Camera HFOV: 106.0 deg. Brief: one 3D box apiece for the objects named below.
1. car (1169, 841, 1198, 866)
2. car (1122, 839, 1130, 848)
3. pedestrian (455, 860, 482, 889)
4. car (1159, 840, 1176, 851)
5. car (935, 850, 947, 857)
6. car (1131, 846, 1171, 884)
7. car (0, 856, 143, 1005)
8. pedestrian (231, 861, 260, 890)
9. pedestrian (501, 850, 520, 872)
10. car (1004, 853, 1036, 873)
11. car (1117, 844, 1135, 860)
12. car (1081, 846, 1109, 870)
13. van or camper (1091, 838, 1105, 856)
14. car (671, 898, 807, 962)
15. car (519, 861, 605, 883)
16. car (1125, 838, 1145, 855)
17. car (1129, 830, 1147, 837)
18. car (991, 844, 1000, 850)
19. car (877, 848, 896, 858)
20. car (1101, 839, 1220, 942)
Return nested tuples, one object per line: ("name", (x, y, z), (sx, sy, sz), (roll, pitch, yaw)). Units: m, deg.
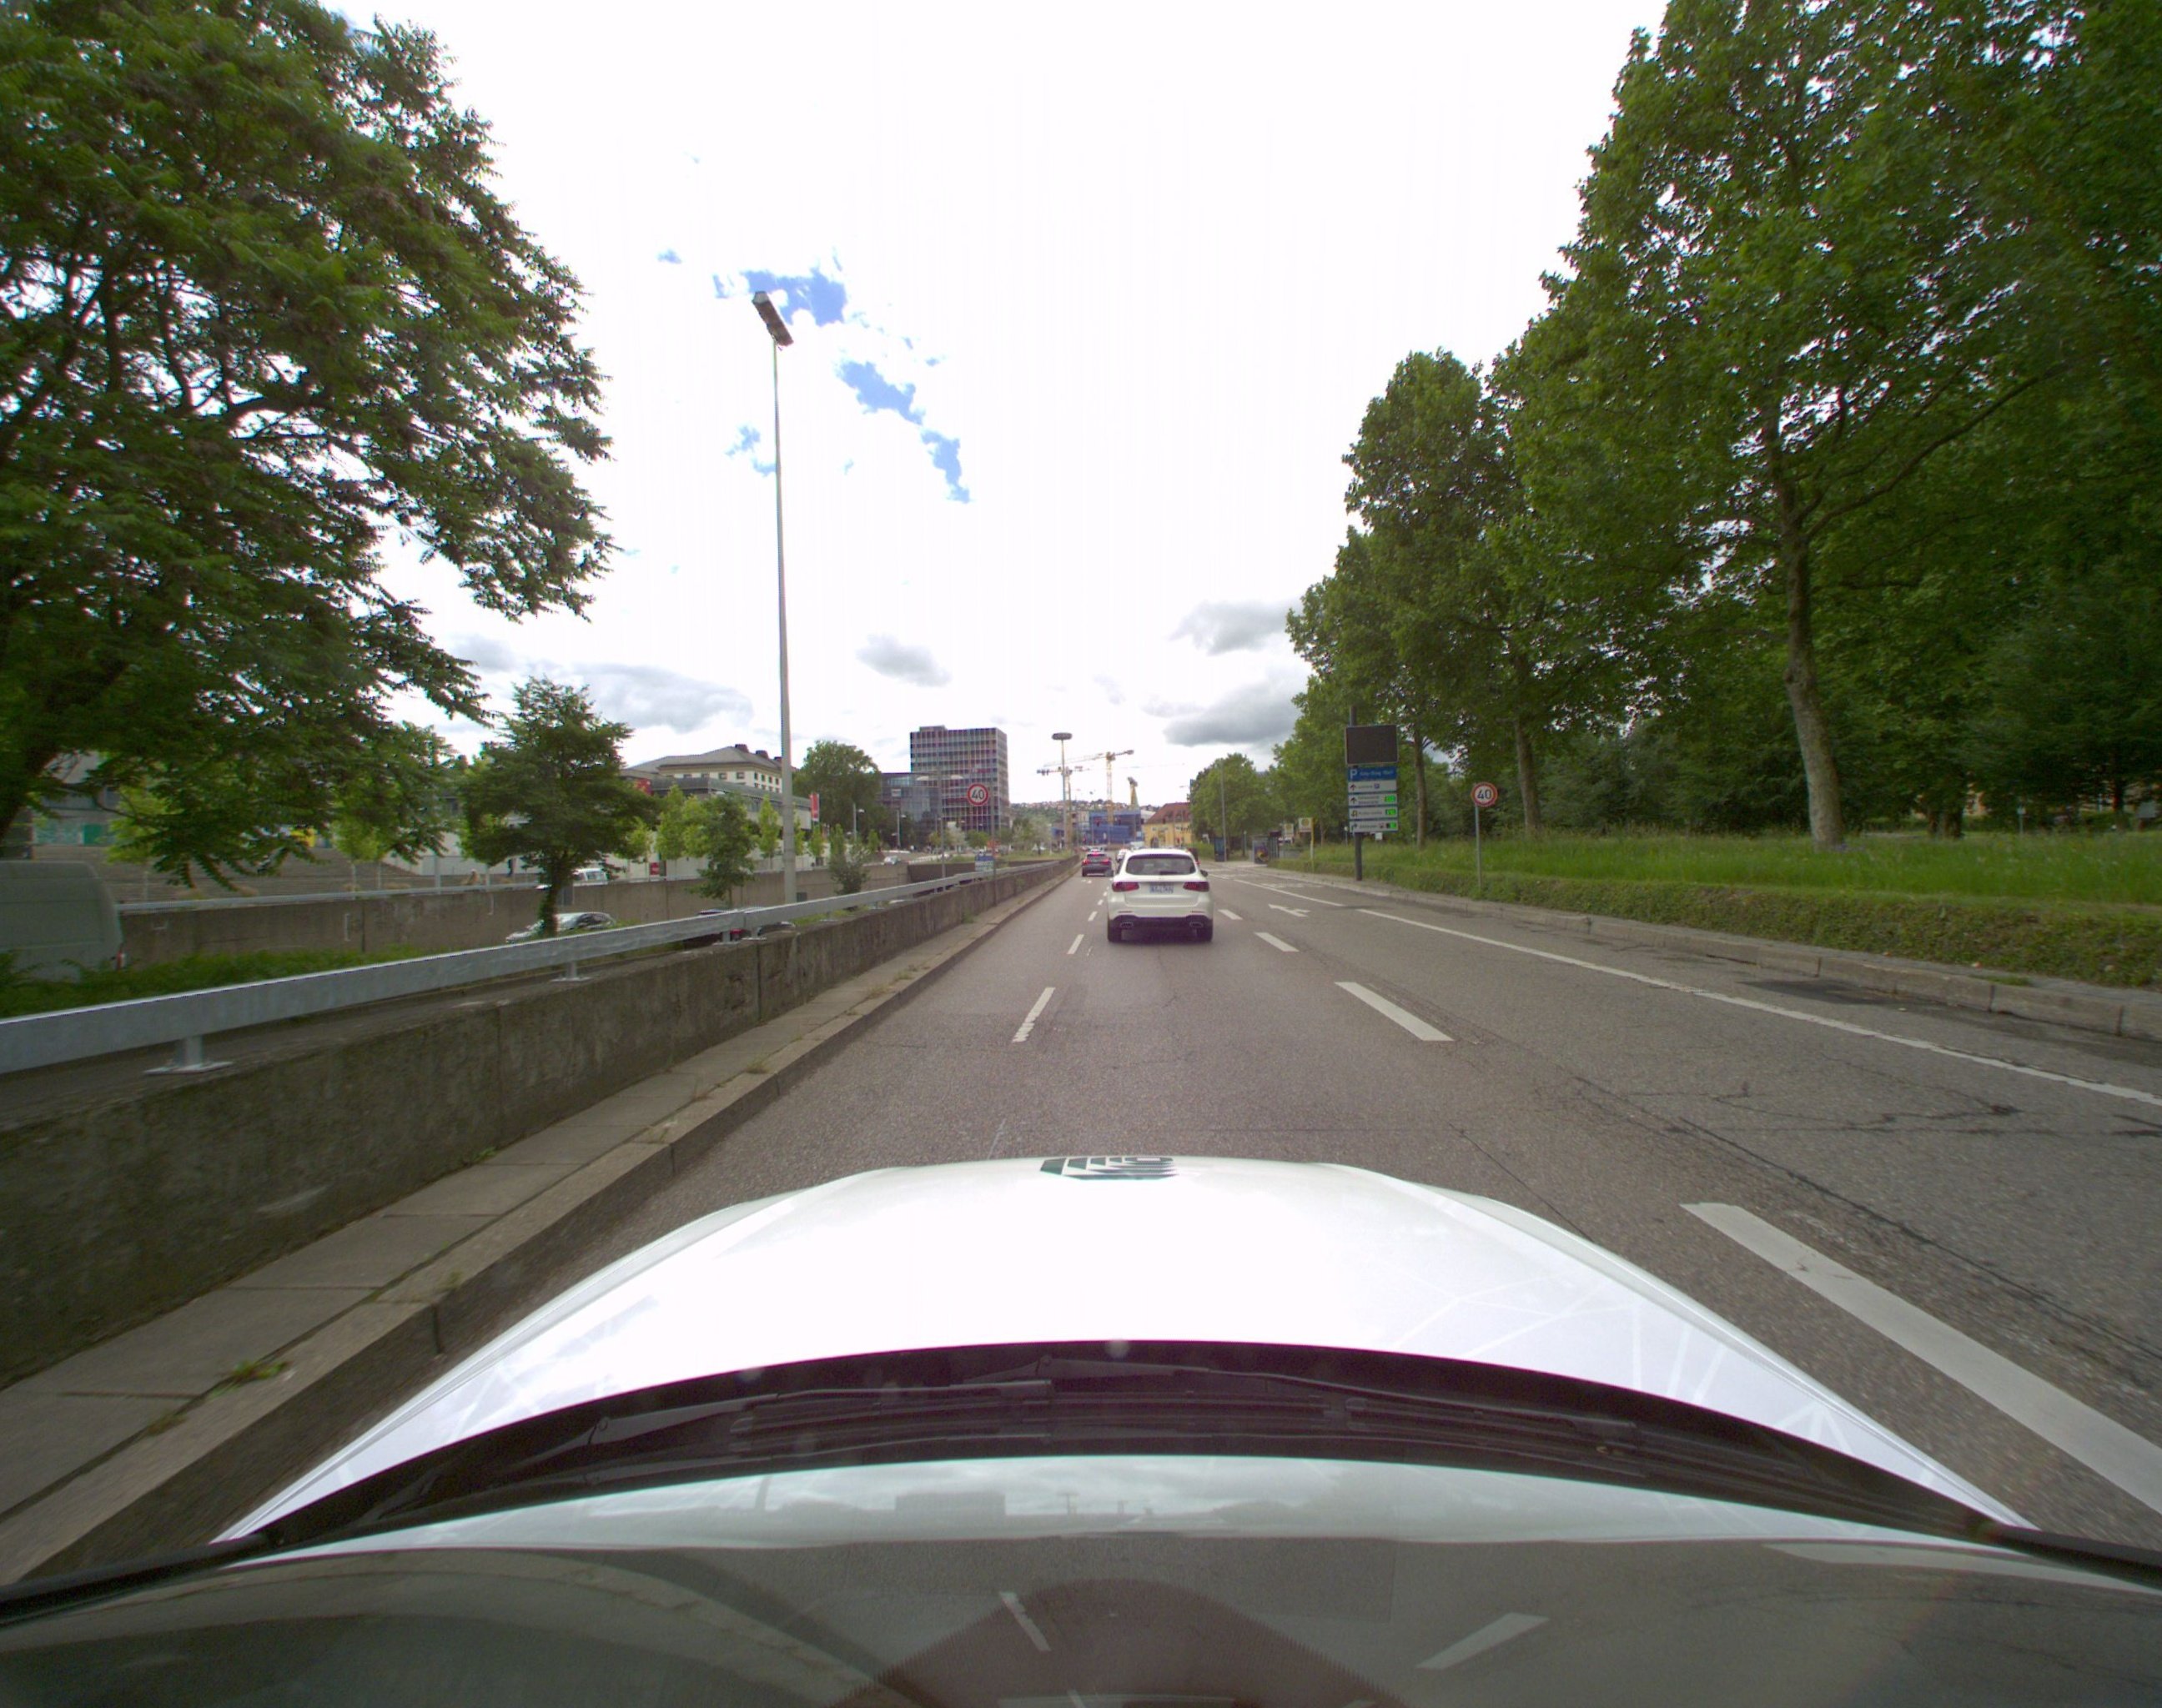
("car", (7.958, -0.017, 63.691), (1.969, 1.893, 4.712), (0, 0, 4))
("car", (10.279, -2.425, 186.826), (1.793, 2.013, 4.001), (0, 0, 1))
("pedestrian", (-35.340, 1.163, 46.981), (0.732, 1.640, 1.005), (-1, 1, 1))
("car", (12.858, -1.271, 121.667), (1.989, 1.618, 3.996), (1, 0, -3))
("car", (-28.213, -0.169, 163.888), (1.803, 1.427, 3.707), (0, 0, 0))
("car", (3.147, 0.477, 37.223), (1.665, 1.627, 4.003), (0, 0, 2))
("car", (-16.747, 1.127, 10.546), (1.968, 2.165, 6.212), (0, 0, 0))
("pedestrian", (-48.944, 1.265, 47.714), (0.639, 1.640, 0.859), (4, 0, 1))
("pedestrian", (-45.320, 0.559, 64.719), (0.639, 1.640, 1.003), (7, 0, 1))
("car", (-4.234, 0.609, 57.428), (1.712, 1.292, 4.004), (1, 1, 3))
("car", (5.354, -0.223, 96.955), (1.986, 1.780, 4.001), (0, 0, 1))
("car", (0.980, 0.258, 57.042), (1.915, 1.601, 4.001), (-1, 1, 1))
("van or camper", (2.385, -0.989, 114.222), (1.915, 2.320, 4.001), (-1, -1, 1))
("car", (-10.003, 2.174, 24.326), (1.805, 1.460, 4.866), (0, 0, 3))
("car", (-29.447, 0.994, 46.399), (1.803, 1.118, 4.808), (0, 0, 0))
("car", (5.723, -0.780, 86.618), (1.986, 1.662, 4.001), (0, 0, 1))
("car", (16.323, -5.868, 231.982), (5.223, 2.060, 1.884), (0, 0, 45))
("car", (-23.592, -1.989, 224.674), (1.861, 1.618, 3.482), (0, 0, 1))
("car", (-25.823, -0.154, 108.383), (1.828, 1.360, 3.863), (1, 0, -4))
("car", (1.428, 0.609, 15.517), (1.932, 1.684, 4.003), (-1, 0, 3))
